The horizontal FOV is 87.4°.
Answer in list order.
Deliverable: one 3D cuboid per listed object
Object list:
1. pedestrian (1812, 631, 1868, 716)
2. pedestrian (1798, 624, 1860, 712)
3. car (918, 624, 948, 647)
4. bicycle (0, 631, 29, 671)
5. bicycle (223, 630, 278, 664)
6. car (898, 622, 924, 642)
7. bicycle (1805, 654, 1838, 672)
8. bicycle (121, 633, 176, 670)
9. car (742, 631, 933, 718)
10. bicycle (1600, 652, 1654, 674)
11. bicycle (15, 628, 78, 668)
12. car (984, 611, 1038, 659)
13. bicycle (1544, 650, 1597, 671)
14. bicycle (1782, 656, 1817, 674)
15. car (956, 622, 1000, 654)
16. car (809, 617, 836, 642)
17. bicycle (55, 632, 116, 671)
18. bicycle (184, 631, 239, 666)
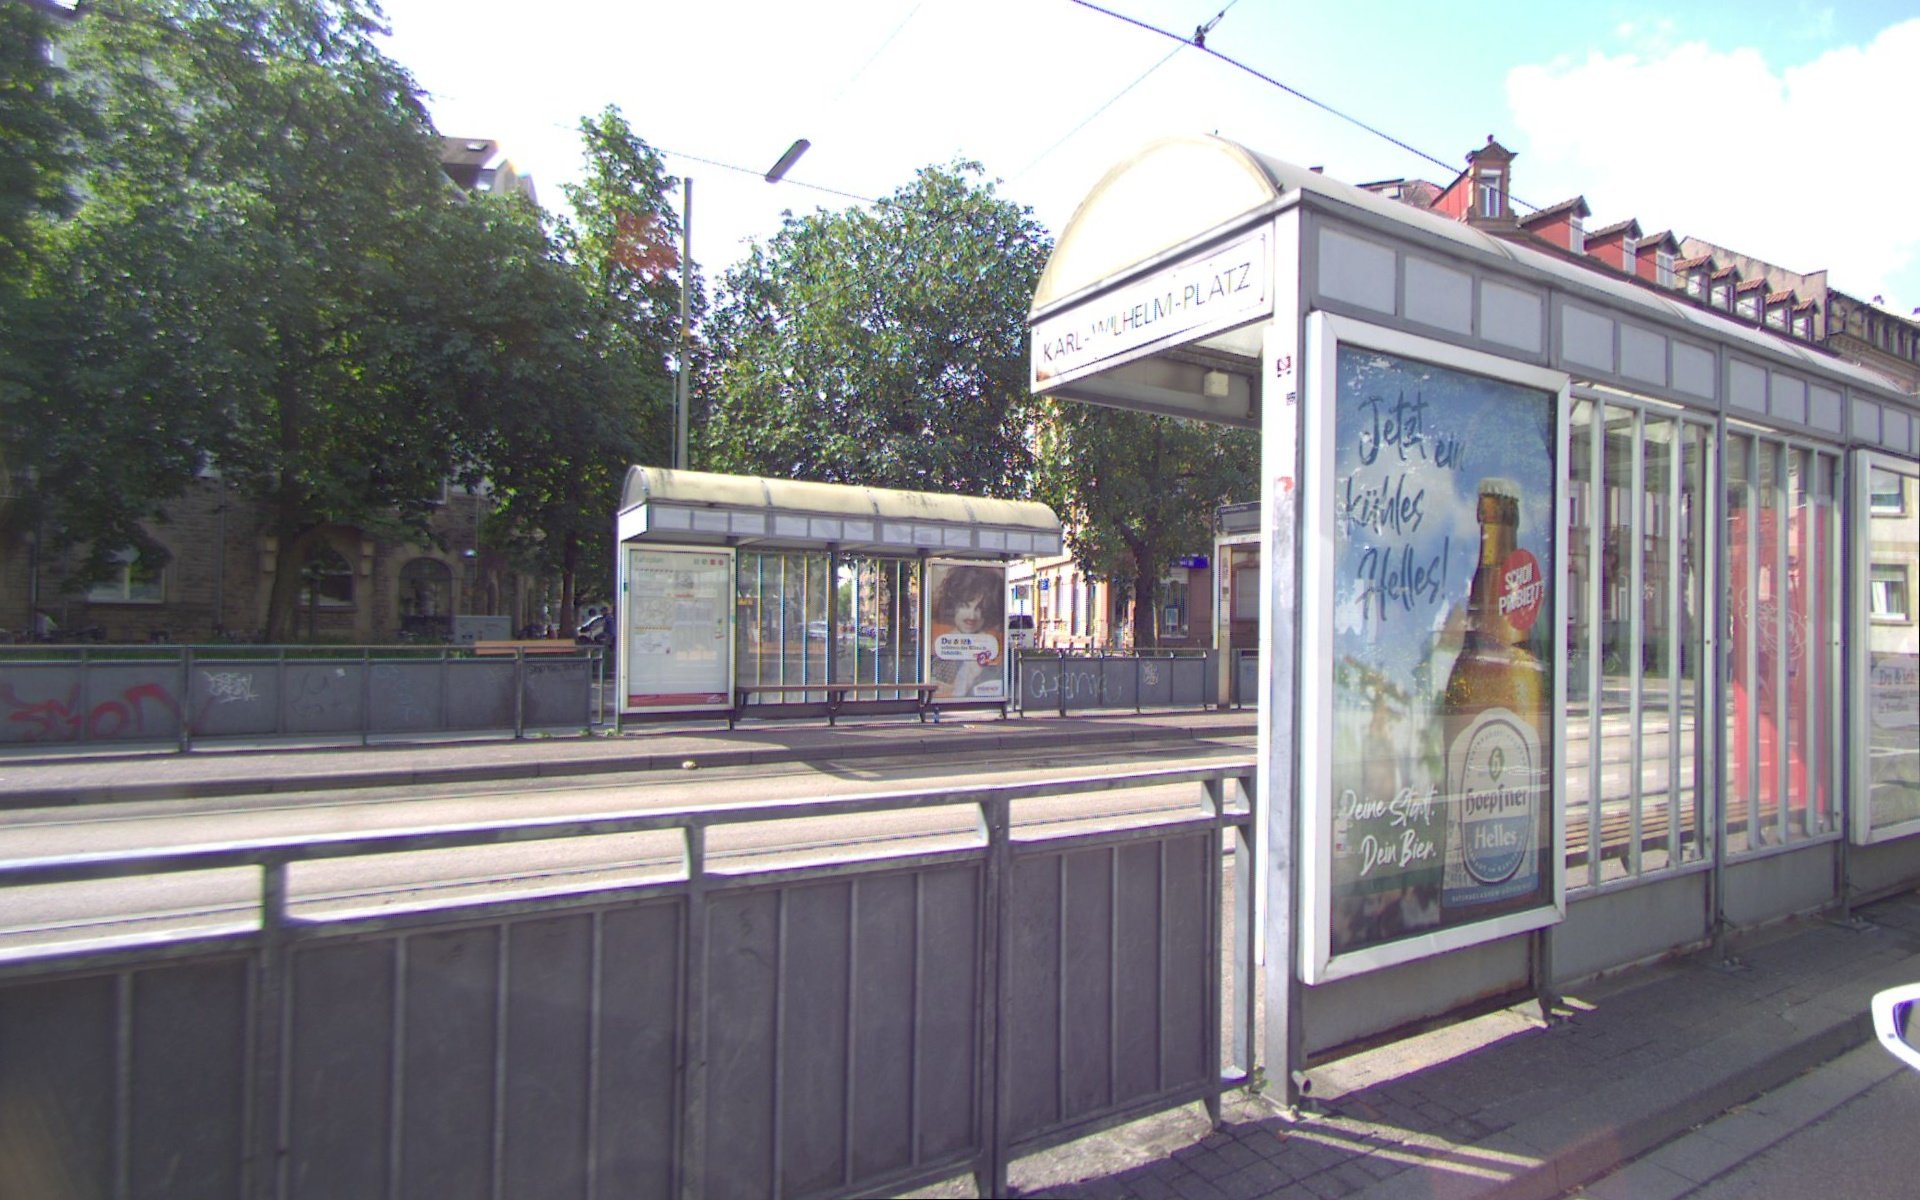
[{"bbox_3d":[16.676,1.373,19.033,0.574,1.566,0.664,1,-1,-31],"label":"pedestrian"},{"bbox_3d":[17.115,1.324,19.785,0.660,1.697,0.767,1,-1,-31],"label":"pedestrian"},{"bbox_3d":[-1.897,2.457,70.728,1.686,1.575,3.915,1,-1,-8],"label":"car"},{"bbox_3d":[-23.853,1.244,24.827,1.993,0.910,0.571,2,-1,27],"label":"bicycle"},{"bbox_3d":[-20.601,1.356,29.156,1.996,0.910,0.570,1,-1,33],"label":"bicycle"},{"bbox_3d":[-4.268,2.723,86.773,1.861,1.694,3.785,1,-1,-8],"label":"car"},{"bbox_3d":[34.474,2.524,40.197,1.688,0.686,0.384,1,-1,-26],"label":"bicycle"},{"bbox_3d":[-22.230,1.402,27.507,1.996,0.910,0.570,1,-1,33],"label":"bicycle"},{"bbox_3d":[-2.743,1.634,22.757,3.953,1.800,1.672,2,-2,-30],"label":"car"},{"bbox_3d":[24.428,2.304,36.801,1.676,0.757,0.386,1,-1,6],"label":"bicycle"},{"bbox_3d":[-23.357,1.212,25.672,1.995,0.910,0.571,1,-1,30],"label":"bicycle"},{"bbox_3d":[2.257,1.551,45.271,1.822,2.015,3.944,1,-1,-6],"label":"car"},{"bbox_3d":[22.475,2.227,36.987,1.676,0.757,0.386,1,-1,6],"label":"bicycle"},{"bbox_3d":[32.626,2.511,39.033,1.688,0.662,0.384,1,-1,-26],"label":"bicycle"},{"bbox_3d":[0.967,2.078,55.147,1.881,1.685,3.937,1,-1,-7],"label":"car"},{"bbox_3d":[-10.623,2.264,77.562,1.963,1.795,3.994,1,0,-8],"label":"car"},{"bbox_3d":[-22.972,1.345,26.373,1.995,0.910,0.571,1,-1,30],"label":"bicycle"},{"bbox_3d":[-21.278,1.366,28.556,1.996,0.910,0.570,1,-1,33],"label":"bicycle"}]
